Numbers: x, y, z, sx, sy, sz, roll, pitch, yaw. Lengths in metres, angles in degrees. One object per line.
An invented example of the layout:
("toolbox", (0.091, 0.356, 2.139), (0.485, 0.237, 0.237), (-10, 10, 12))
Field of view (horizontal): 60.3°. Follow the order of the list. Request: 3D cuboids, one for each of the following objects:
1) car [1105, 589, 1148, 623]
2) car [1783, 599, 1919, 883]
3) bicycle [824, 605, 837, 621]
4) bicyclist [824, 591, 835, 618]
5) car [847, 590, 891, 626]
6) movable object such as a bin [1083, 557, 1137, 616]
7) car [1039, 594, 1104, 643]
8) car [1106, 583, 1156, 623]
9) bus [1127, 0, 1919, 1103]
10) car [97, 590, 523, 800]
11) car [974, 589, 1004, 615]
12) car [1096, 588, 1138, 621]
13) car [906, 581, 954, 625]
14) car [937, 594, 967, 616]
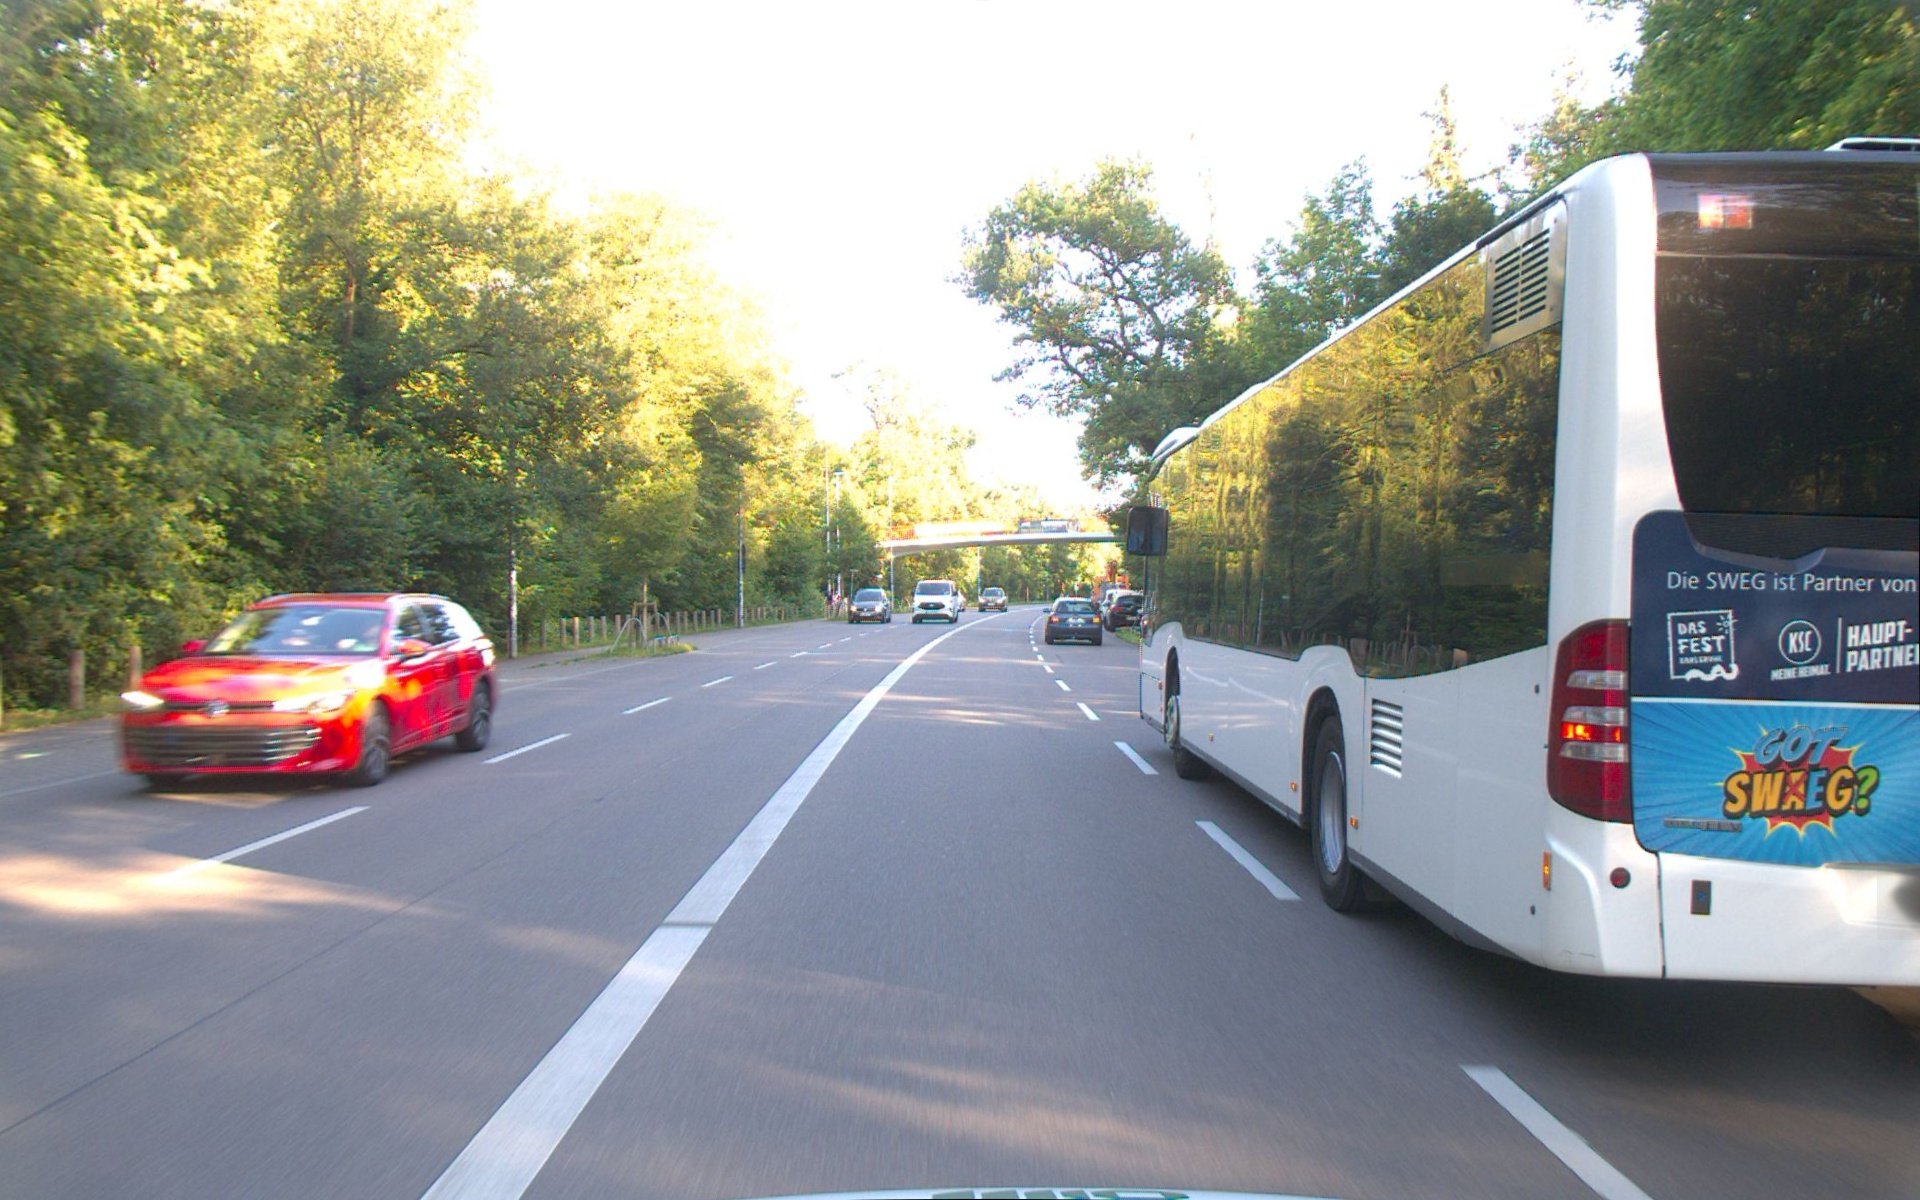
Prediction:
("car", (7.780, 0.262, 77.492), (1.692, 1.569, 4.091), (0, 0, 2))
("car", (6.043, 0.742, 8.102), (1.815, 1.481, 4.283), (-3, 0, 0))
("bicycle", (-7.278, 0.726, 92.894), (0.484, 0.828, 1.809), (1, 1, 2))
("bicyclist", (-7.304, 0.249, 92.827), (0.489, 1.510, 0.761), (-1, 0, 3))
("car", (-4.266, 0.364, 78.114), (1.763, 1.627, 4.000), (-1, 0, 1))
("movable object such as a bin", (9.182, -0.830, 101.799), (2.702, 3.429, 7.601), (0, 0, 1))
("car", (3.418, 0.535, 51.318), (1.692, 1.467, 4.089), (0, 0, -1))
("car", (6.925, 0.117, 67.275), (1.692, 1.551, 4.091), (-1, 0, 2))
("bus", (3.058, -0.222, 10.845), (2.649, 3.278, 12.278), (0, 0, 0))
("car", (-5.356, 0.672, 14.438), (1.786, 1.488, 4.924), (-1, 0, 0))
("car", (2.104, 0.124, 119.454), (1.878, 1.734, 4.444), (-3, 0, 4))
("car", (7.820, 0.204, 82.628), (1.800, 1.601, 4.460), (0, 0, 2))
("car", (-1.369, 0.140, 78.053), (2.161, 1.995, 4.913), (0, 0, 0))
("car", (-0.564, 0.315, 118.968), (1.858, 1.558, 4.531), (0, 0, 4))
